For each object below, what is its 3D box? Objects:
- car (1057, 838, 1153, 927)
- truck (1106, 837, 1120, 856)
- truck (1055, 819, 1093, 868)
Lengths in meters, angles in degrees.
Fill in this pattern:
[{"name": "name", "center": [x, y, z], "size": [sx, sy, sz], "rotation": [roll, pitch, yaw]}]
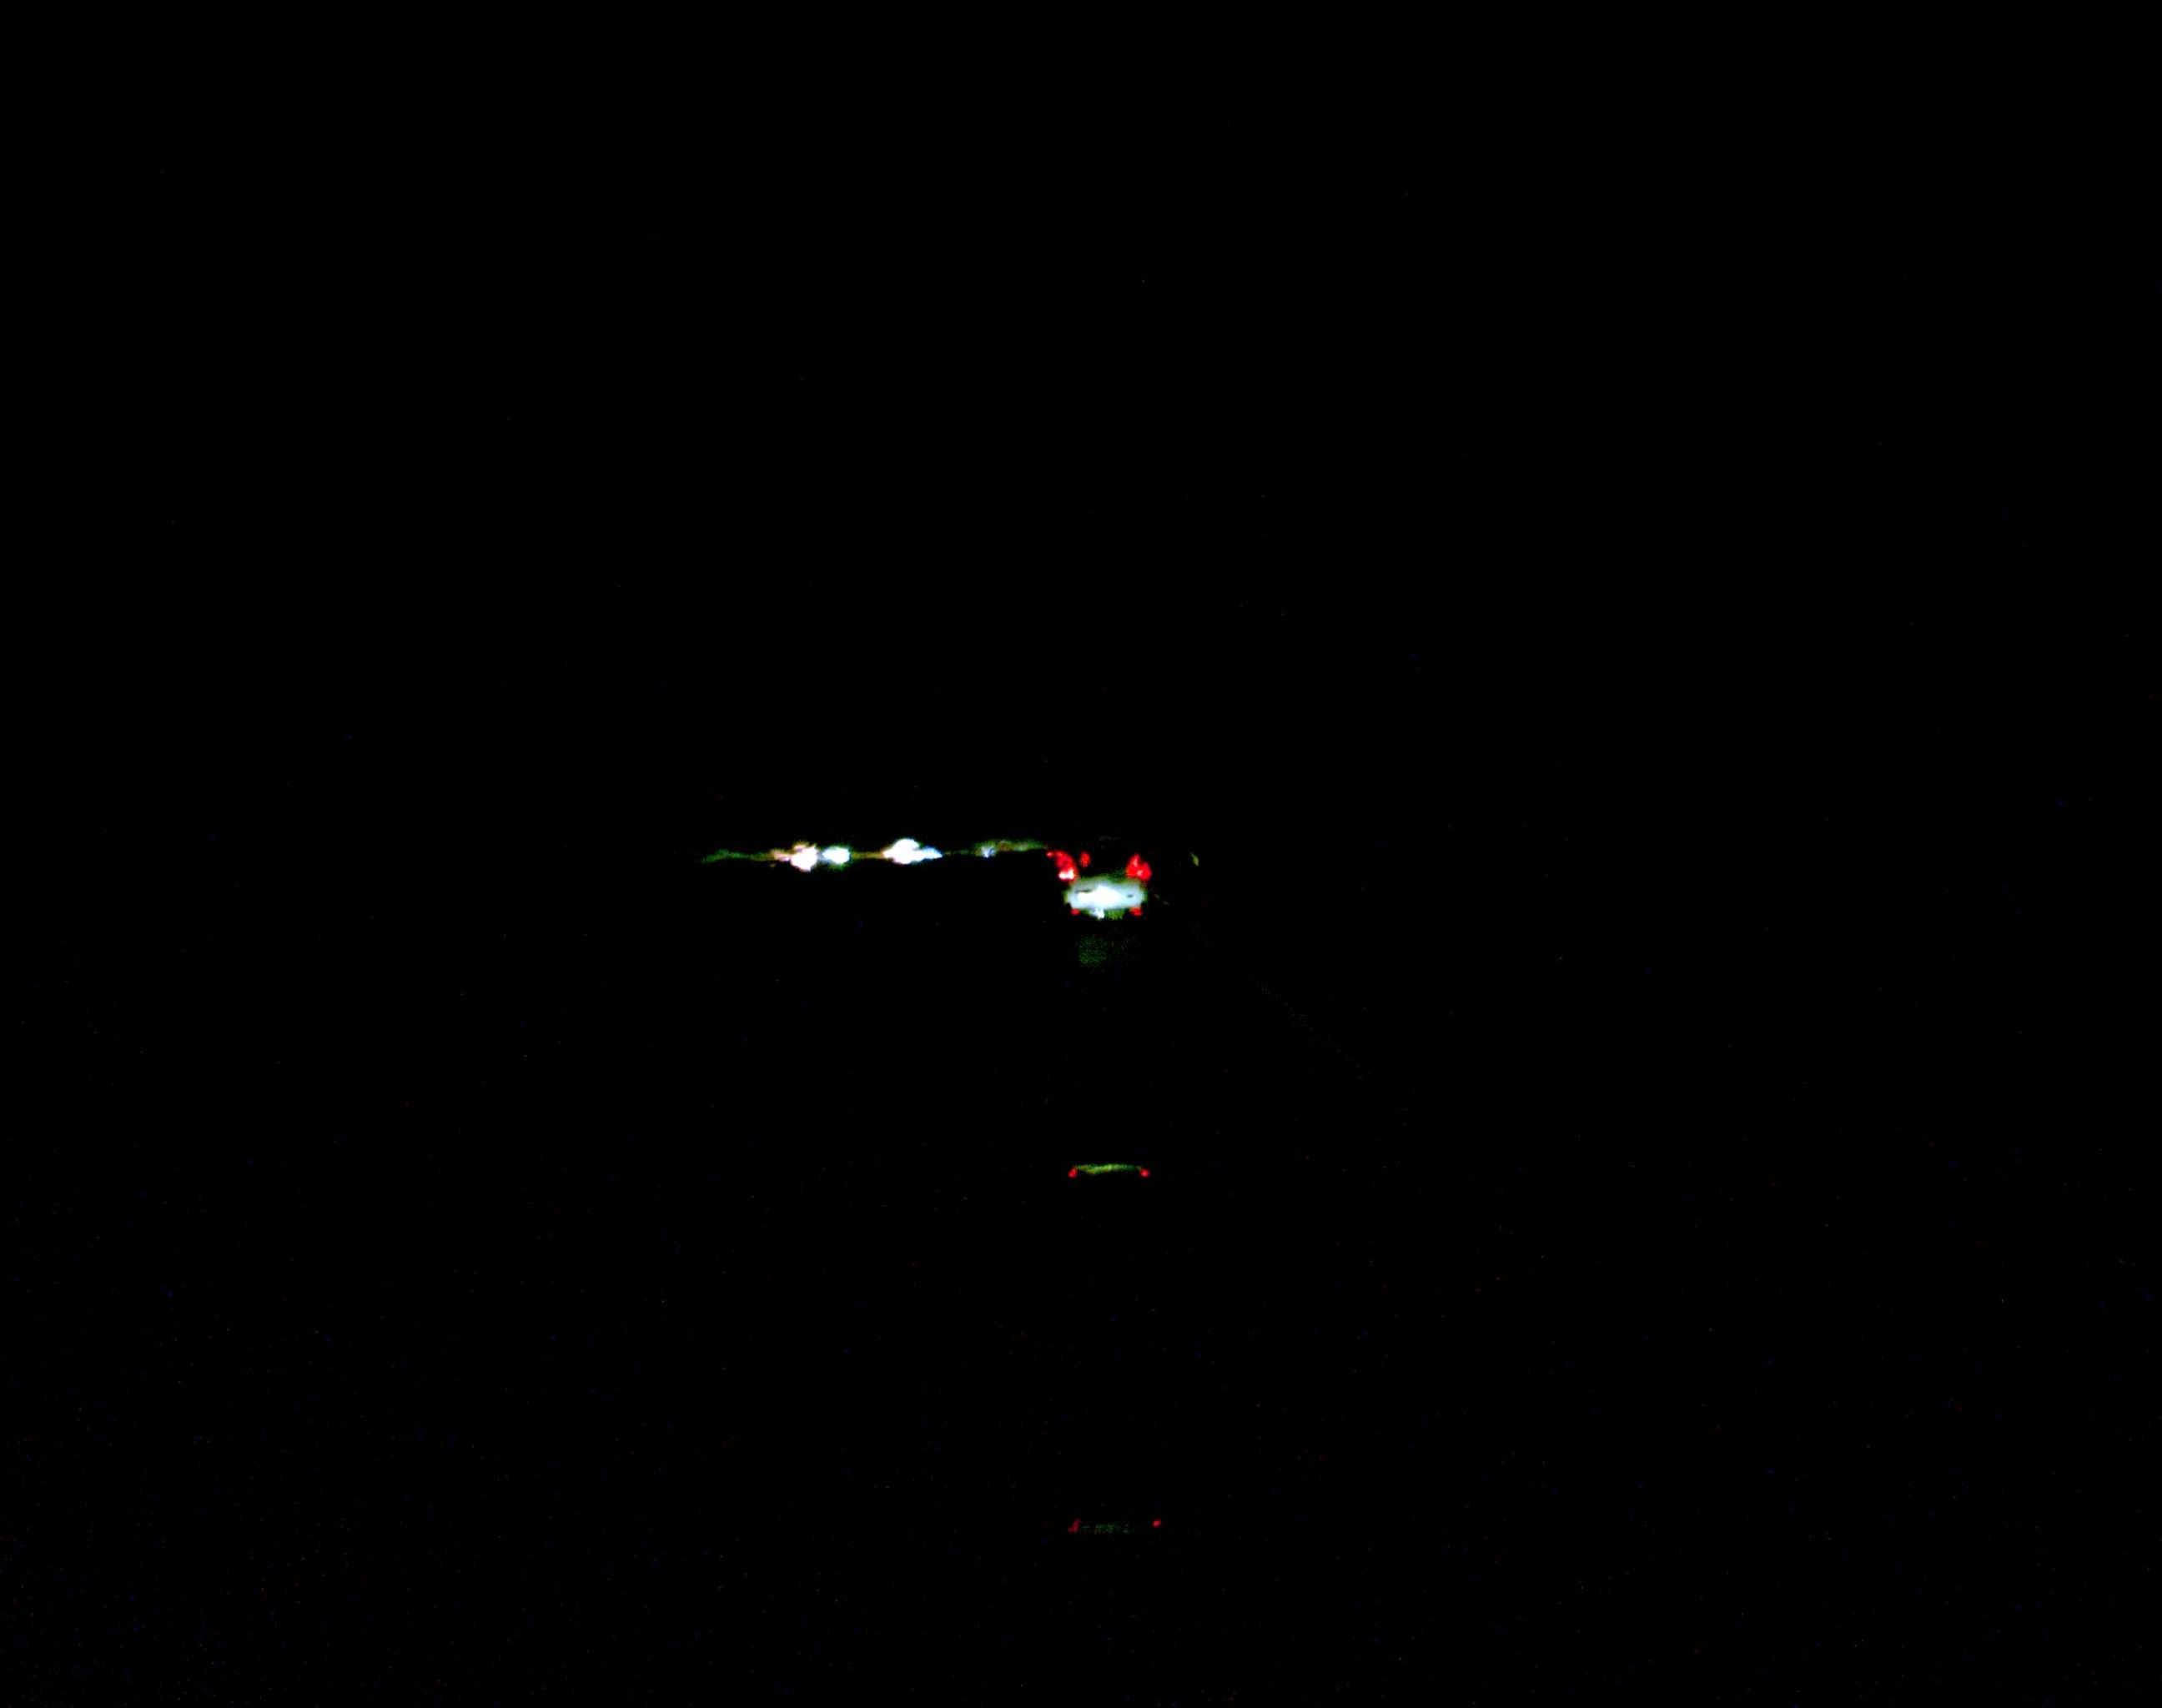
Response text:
[{"name": "car", "center": [0.510, 0.584, 19.099], "size": [1.946, 1.792, 5.124], "rotation": [0, 0, 0]}, {"name": "truck", "center": [8.577, -1.994, 219.885], "size": [3.810, 4.915, 11.609], "rotation": [0, 0, 1]}, {"name": "truck", "center": [-0.701, -1.199, 99.612], "size": [4.152, 5.544, 13.078], "rotation": [0, 0, 1]}]
